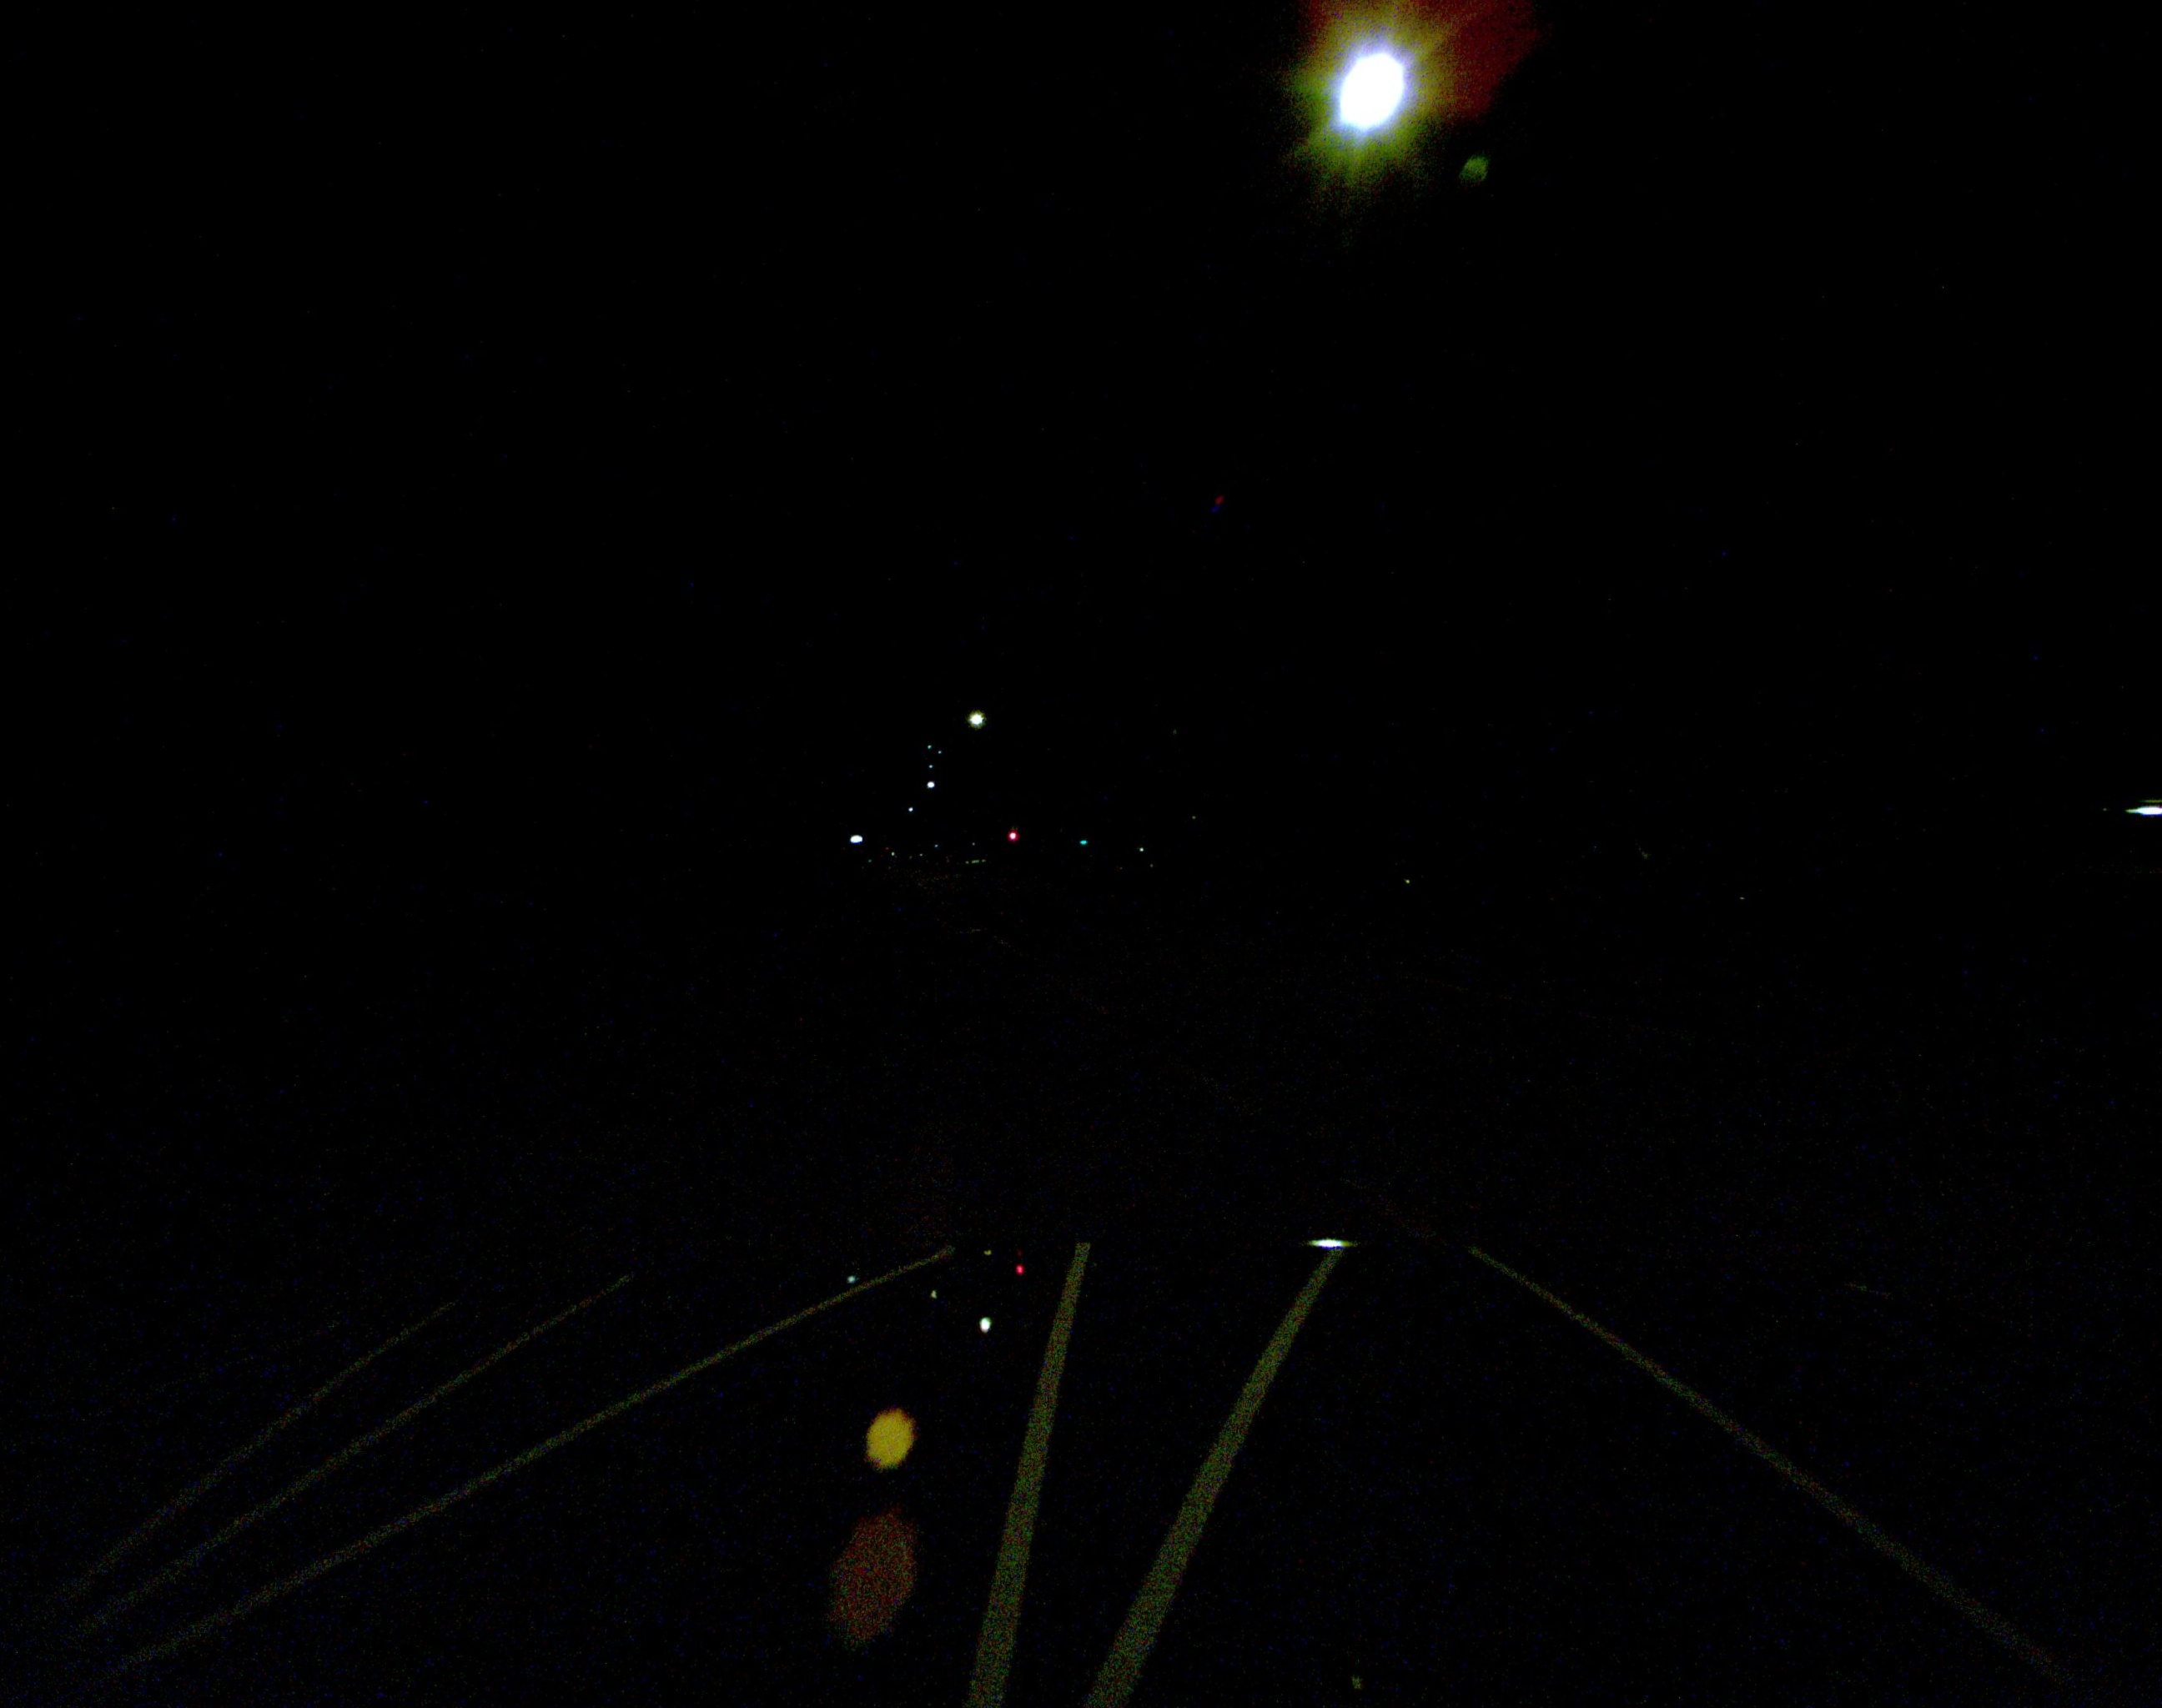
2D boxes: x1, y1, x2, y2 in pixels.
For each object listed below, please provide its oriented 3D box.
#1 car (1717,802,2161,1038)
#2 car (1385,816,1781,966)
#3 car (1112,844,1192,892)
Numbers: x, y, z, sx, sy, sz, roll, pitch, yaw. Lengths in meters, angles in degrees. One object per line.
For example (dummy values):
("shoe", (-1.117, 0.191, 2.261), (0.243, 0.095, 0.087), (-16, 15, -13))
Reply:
("car", (7.517, 0.397, 5.456), (1.557, 1.425, 4.342), (-6, 1, -15))
("car", (6.281, 0.394, 10.230), (1.644, 1.425, 4.344), (-6, 1, -16))
("car", (2.374, 0.442, 26.230), (1.634, 1.455, 3.510), (-3, 1, -14))
